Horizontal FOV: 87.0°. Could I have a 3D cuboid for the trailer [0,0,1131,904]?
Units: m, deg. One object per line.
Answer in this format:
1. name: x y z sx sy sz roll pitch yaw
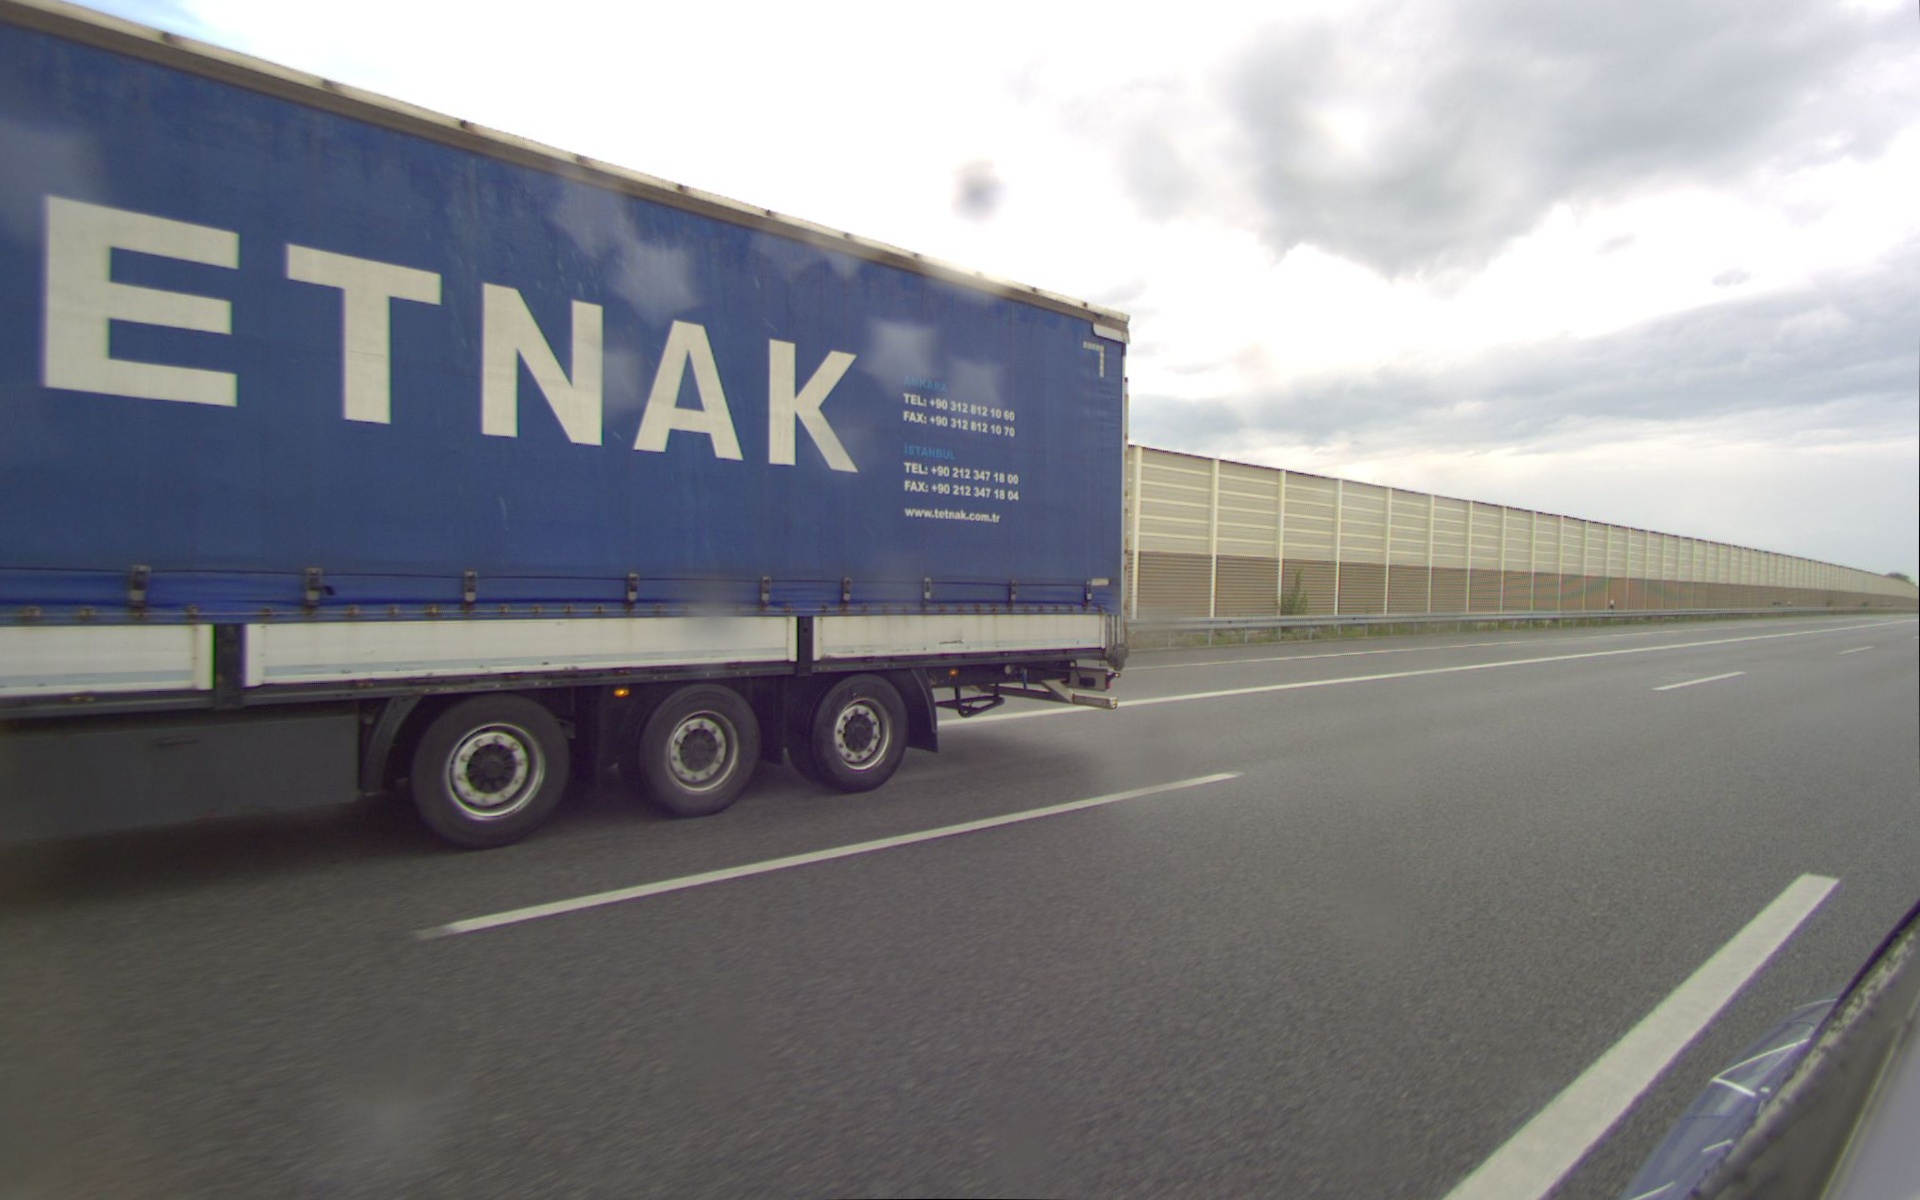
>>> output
1. trailer: -4.673 -0.784 5.524 14.202 4.082 2.766 0 1 -42
